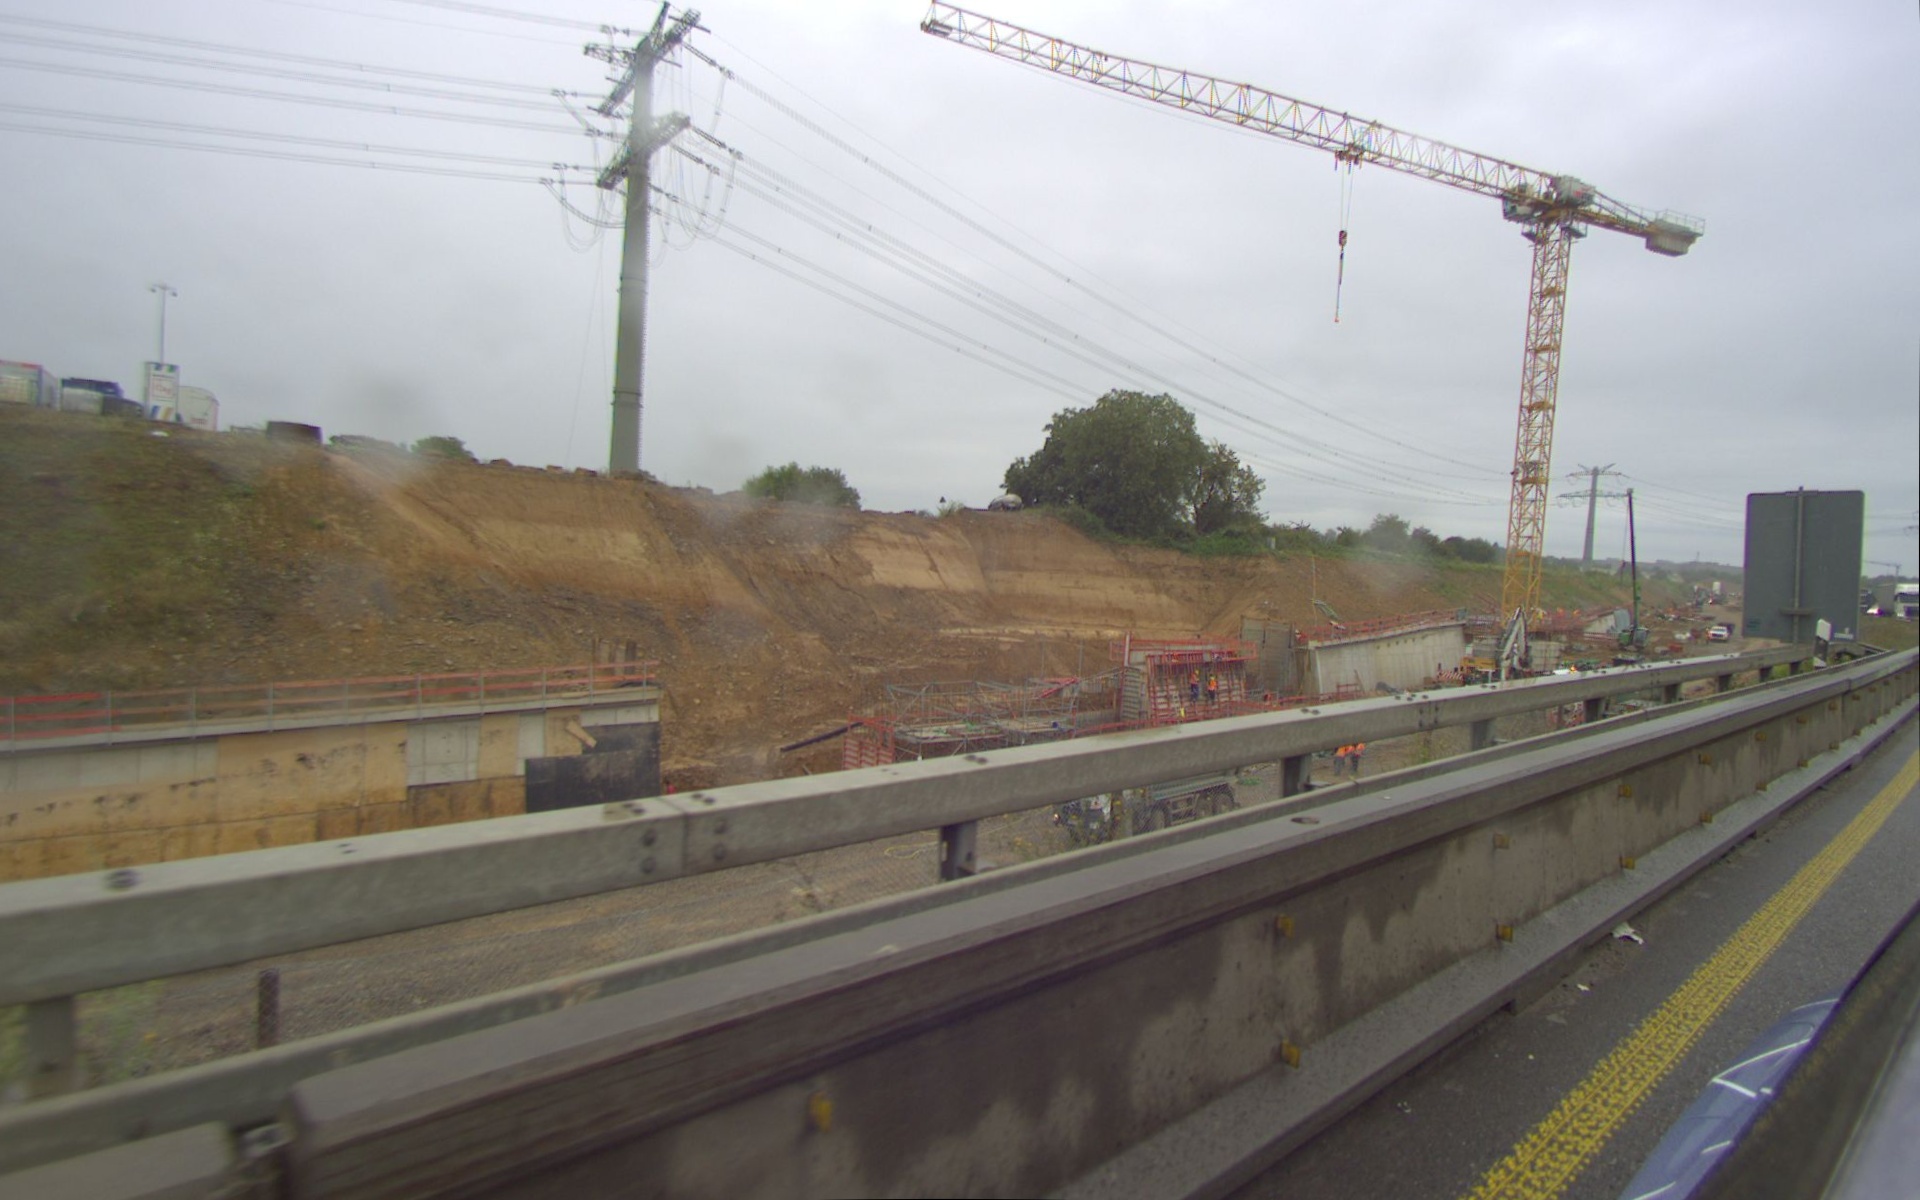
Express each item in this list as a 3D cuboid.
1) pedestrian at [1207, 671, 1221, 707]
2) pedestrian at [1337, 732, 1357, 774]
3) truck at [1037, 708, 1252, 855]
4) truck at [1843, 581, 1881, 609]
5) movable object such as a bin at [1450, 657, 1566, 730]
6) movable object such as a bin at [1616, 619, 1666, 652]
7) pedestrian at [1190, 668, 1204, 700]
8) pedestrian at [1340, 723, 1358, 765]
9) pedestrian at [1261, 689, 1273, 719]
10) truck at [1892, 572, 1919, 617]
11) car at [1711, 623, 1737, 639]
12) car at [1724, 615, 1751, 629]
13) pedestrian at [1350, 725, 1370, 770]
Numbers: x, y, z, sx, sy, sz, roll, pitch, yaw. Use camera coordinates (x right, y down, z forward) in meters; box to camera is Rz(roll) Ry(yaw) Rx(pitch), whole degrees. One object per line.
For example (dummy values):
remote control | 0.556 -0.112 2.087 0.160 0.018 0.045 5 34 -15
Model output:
pedestrian | 15.211 5.326 60.619 0.474 2.127 0.488 0 -3 -44
pedestrian | 18.071 7.147 47.230 0.474 1.790 0.602 0 5 -44
truck | 6.982 6.402 37.246 8.916 3.655 2.709 -1 4 -41
truck | 129.002 -0.765 144.741 8.199 3.942 3.538 0 0 -45
movable object such as a bin | 32.234 5.370 59.486 6.528 3.466 3.520 -1 2 -35
movable object such as a bin | 72.540 3.753 107.810 3.935 2.914 3.498 -1 8 -45
pedestrian | 13.961 4.933 59.633 0.571 1.827 0.489 -2 -2 -4
pedestrian | 18.824 6.962 48.964 0.474 1.928 0.602 0 4 -44
pedestrian | 19.440 6.558 64.004 0.474 1.781 0.488 0 4 -44
truck | 100.243 -0.563 105.335 4.303 4.399 13.208 0 0 41
car | 90.851 3.628 120.339 1.856 1.638 4.015 4 3 44
car | 107.301 3.008 139.672 2.346 1.638 4.782 4 3 44
pedestrian | 18.741 6.907 47.374 0.604 1.928 0.602 0 3 -44
